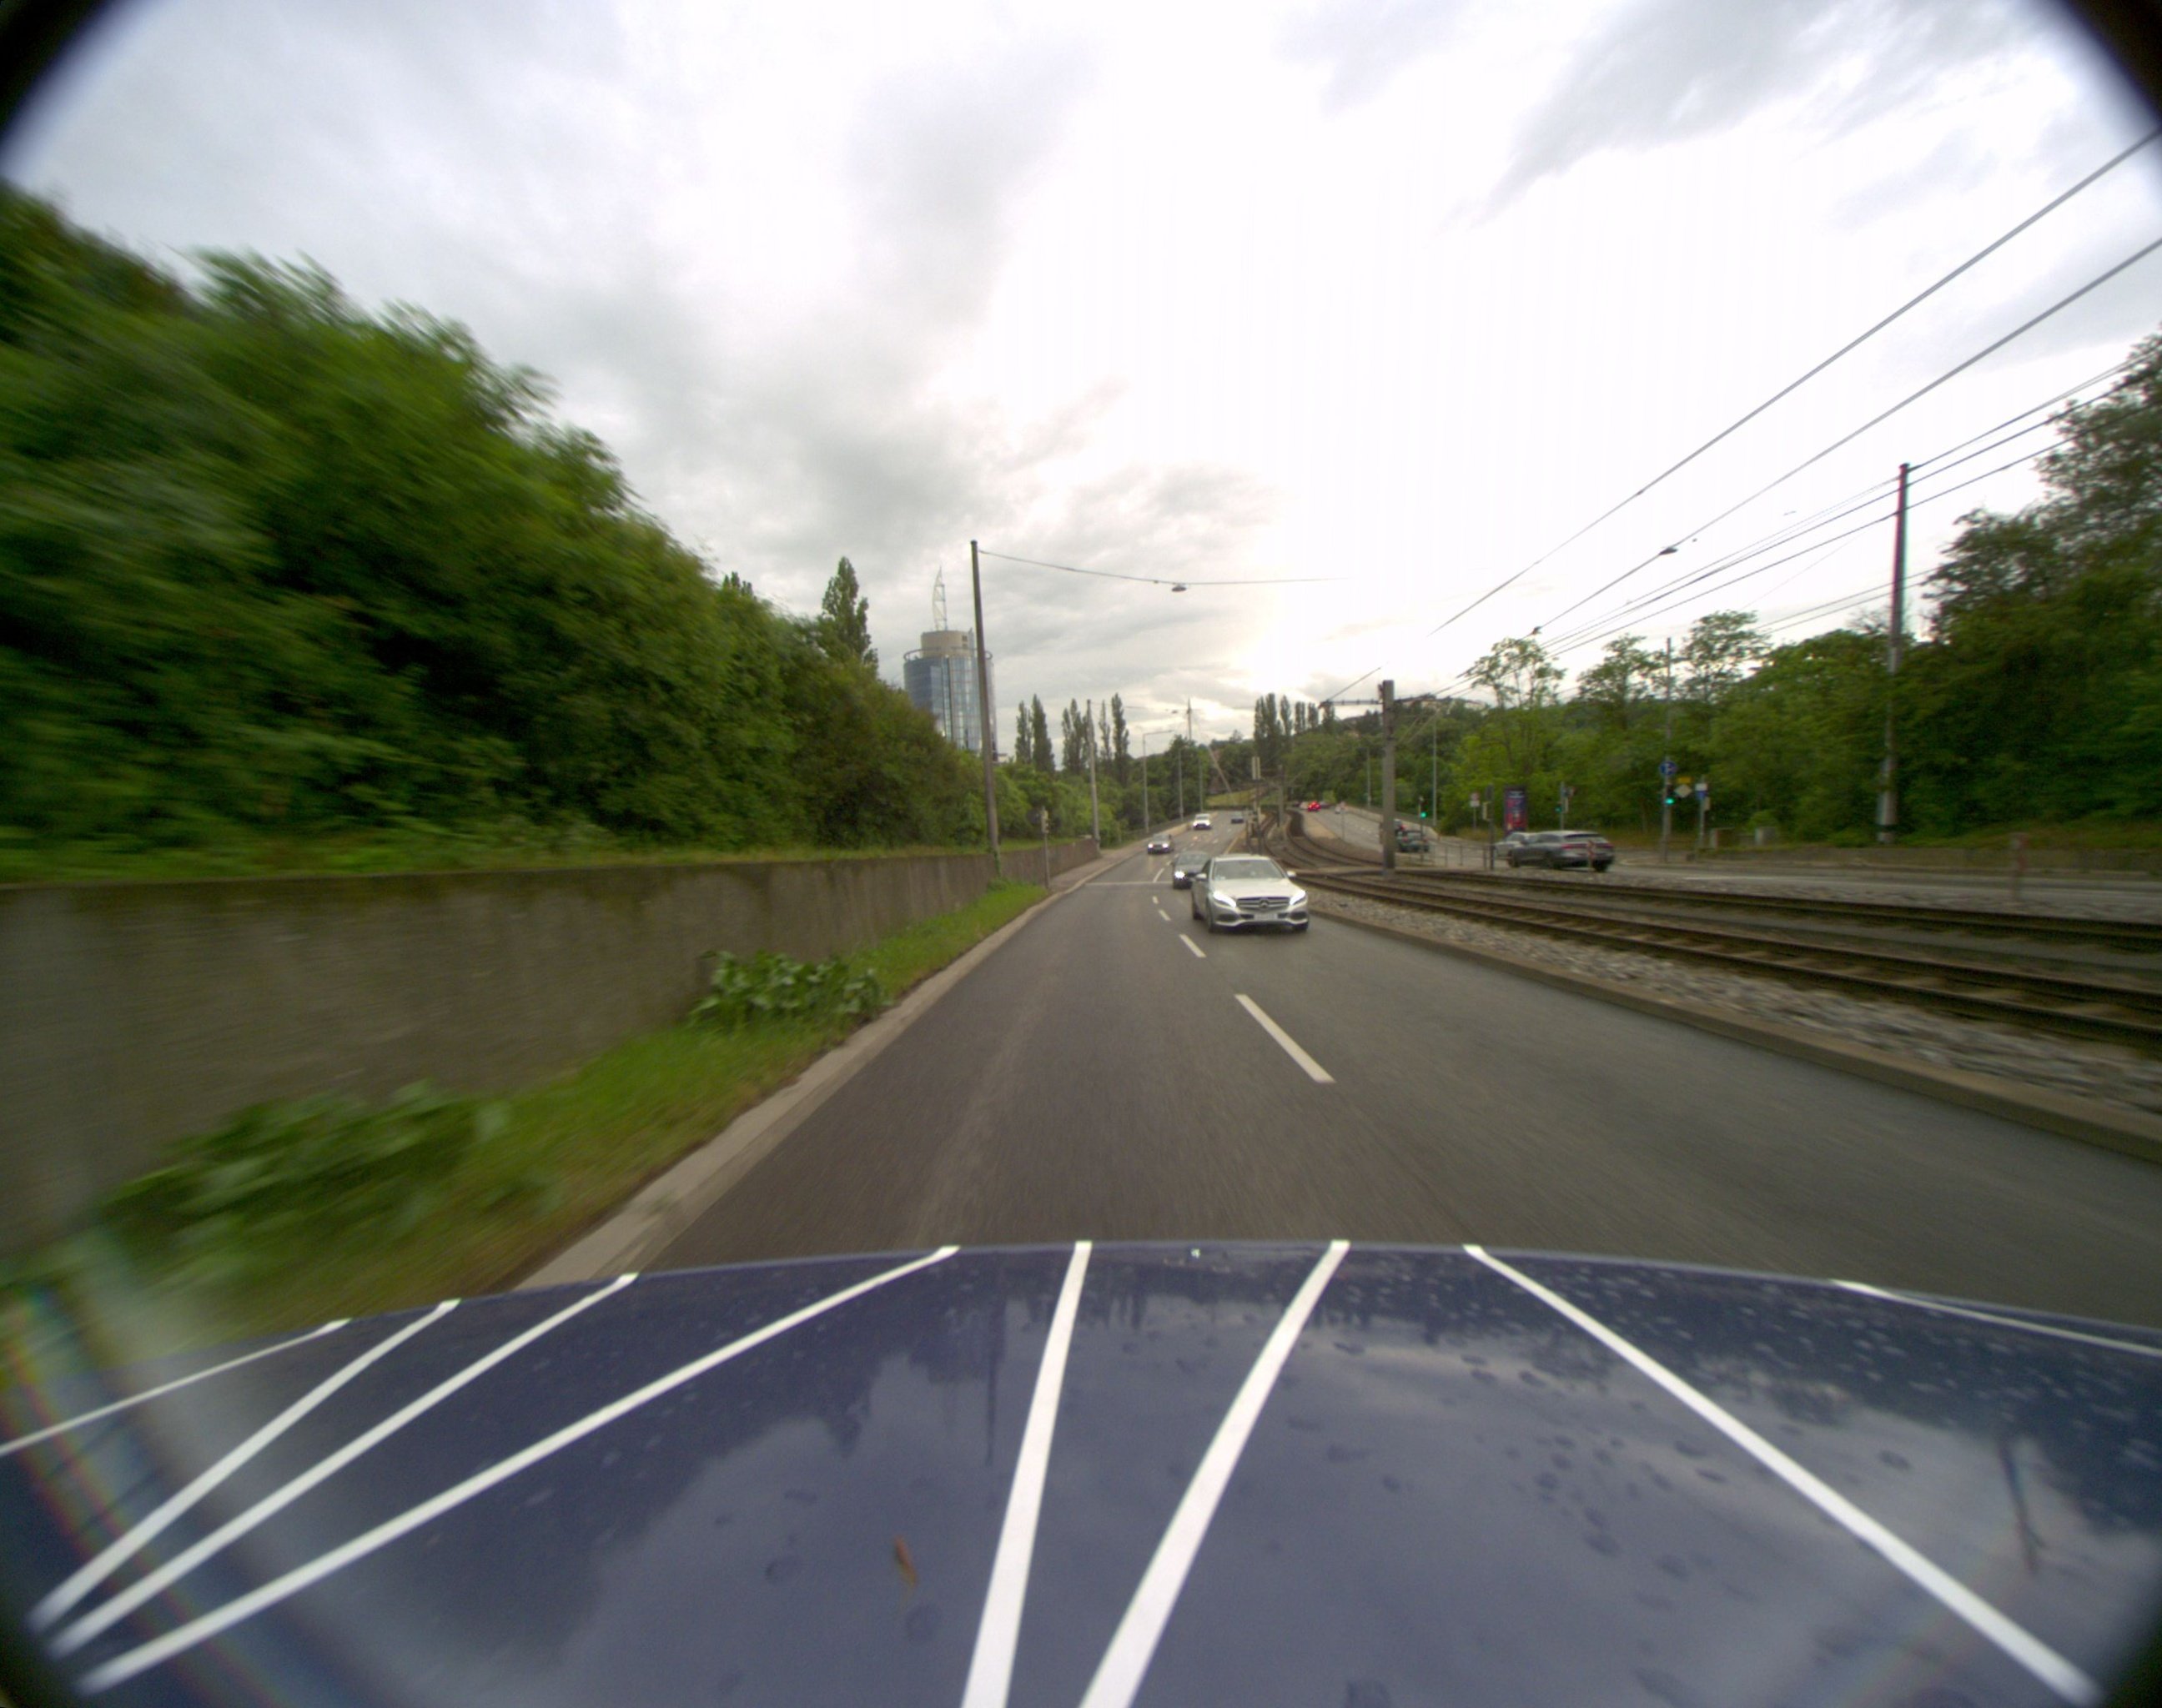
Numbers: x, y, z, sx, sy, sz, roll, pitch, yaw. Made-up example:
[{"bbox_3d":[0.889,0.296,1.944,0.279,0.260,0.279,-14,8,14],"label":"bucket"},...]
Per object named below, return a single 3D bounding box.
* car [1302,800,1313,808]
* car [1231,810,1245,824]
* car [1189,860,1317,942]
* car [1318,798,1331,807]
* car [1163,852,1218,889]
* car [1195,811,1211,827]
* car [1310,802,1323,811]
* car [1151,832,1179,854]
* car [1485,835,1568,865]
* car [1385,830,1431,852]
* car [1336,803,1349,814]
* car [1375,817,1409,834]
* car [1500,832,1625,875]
[{"bbox_3d":[45.949,-10.203,154.389,1.732,1.430,4.491,-1,6,12],"label":"car"},{"bbox_3d":[22.207,-5.228,107.840,1.766,1.806,4.002,-3,2,10],"label":"car"},{"bbox_3d":[3.309,0.853,15.412,1.871,1.348,4.061,-2,0,3],"label":"car"},{"bbox_3d":[49.250,-10.409,153.551,1.972,1.589,5.185,-1,4,12],"label":"car"},{"bbox_3d":[4.439,0.638,31.245,1.736,1.344,4.000,-3,0,2],"label":"car"},{"bbox_3d":[15.097,-4.245,93.797,1.766,1.806,4.002,-3,1,10],"label":"car"},{"bbox_3d":[43.772,-8.938,141.467,1.851,1.589,4.732,-1,4,11],"label":"car"},{"bbox_3d":[6.498,-0.858,58.655,1.766,1.493,4.001,-2,3,12],"label":"car"},{"bbox_3d":[22.613,-0.219,38.791,1.823,1.372,4.706,-1,1,5],"label":"car"},{"bbox_3d":[21.230,-0.884,49.472,1.636,1.376,3.895,0,1,6],"label":"car"},{"bbox_3d":[43.057,-7.509,125.385,1.823,1.507,4.531,-1,5,17],"label":"car"},{"bbox_3d":[28.603,-2.646,70.062,1.719,1.451,4.274,-2,4,6],"label":"car"},{"bbox_3d":[17.727,-0.027,28.287,1.865,1.430,4.856,0,0,4],"label":"car"}]
